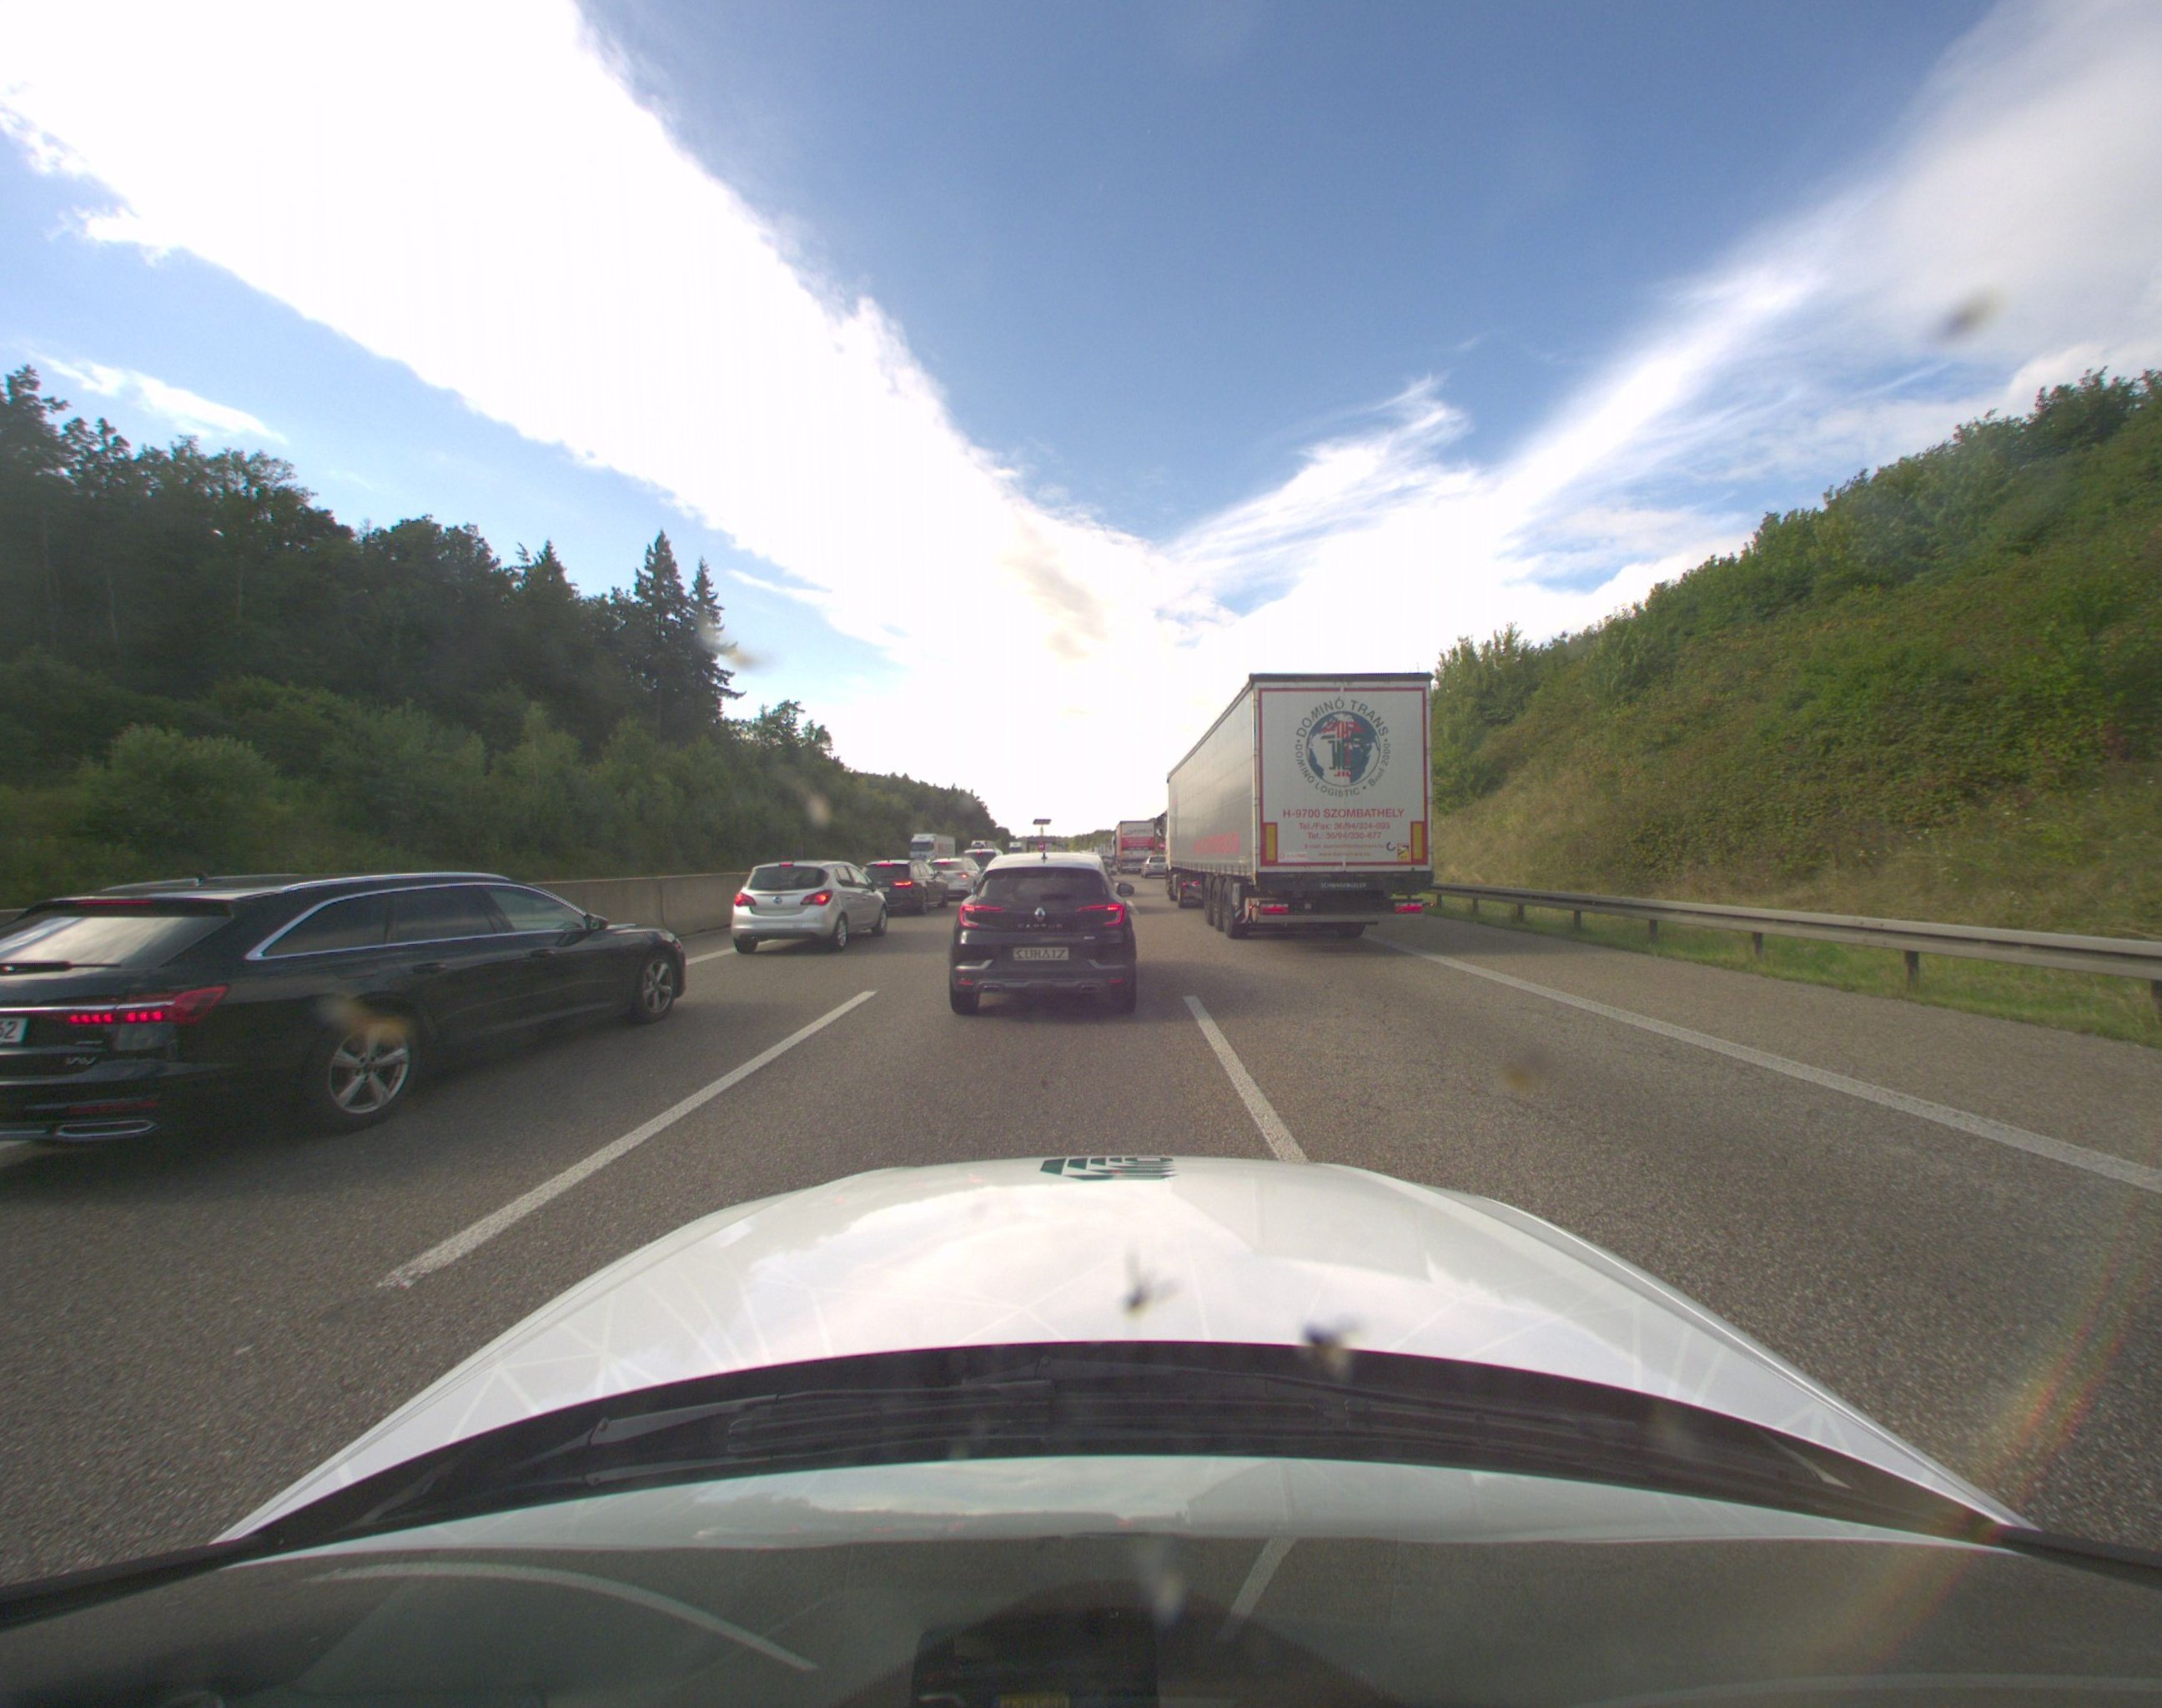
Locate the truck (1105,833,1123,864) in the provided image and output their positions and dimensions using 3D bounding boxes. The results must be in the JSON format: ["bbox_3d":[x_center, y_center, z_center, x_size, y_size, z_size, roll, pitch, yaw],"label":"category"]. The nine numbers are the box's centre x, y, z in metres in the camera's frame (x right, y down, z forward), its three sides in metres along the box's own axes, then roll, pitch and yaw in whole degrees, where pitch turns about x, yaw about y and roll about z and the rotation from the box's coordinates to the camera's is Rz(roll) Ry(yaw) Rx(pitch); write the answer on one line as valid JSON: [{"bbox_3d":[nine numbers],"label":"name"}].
[{"bbox_3d":[6.210,-0.915,152.329,3.153,5.505,12.748,0,-1,3],"label":"truck"}]

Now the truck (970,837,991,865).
[{"bbox_3d":[-17.427,-0.475,141.827,2.921,4.859,4.766,0,-1,1],"label":"truck"}]

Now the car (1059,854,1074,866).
[{"bbox_3d":[-2.121,0.868,118.531,1.986,1.613,4.002,-1,0,2],"label":"car"}]

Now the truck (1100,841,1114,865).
[{"bbox_3d":[5.948,-0.172,186.510,3.154,5.159,12.742,0,-1,2],"label":"truck"}]

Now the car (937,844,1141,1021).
[{"bbox_3d":[-0.249,0.710,9.232,1.797,1.552,4.004,-1,0,3],"label":"car"}]

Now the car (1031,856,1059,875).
[{"bbox_3d":[-3.012,0.953,68.813,1.986,1.613,4.001,0,-1,2],"label":"car"}]

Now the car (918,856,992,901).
[{"bbox_3d":[-4.411,0.822,29.167,1.797,1.461,4.311,-1,-1,2],"label":"car"}]

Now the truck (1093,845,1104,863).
[{"bbox_3d":[5.532,-0.029,256.154,3.154,5.505,12.742,0,-1,2],"label":"truck"}]

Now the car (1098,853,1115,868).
[{"bbox_3d":[2.982,0.743,94.767,1.986,1.613,4.002,-1,0,2],"label":"car"}]

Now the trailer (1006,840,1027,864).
[{"bbox_3d":[-13.830,-0.398,175.745,3.077,5.074,13.834,0,-1,1],"label":"trailer"}]

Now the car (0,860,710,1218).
[{"bbox_3d":[-4.826,0.807,5.897,1.875,1.471,4.854,0,0,2],"label":"car"}]

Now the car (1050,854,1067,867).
[{"bbox_3d":[-2.859,0.761,103.885,1.986,1.613,4.002,-1,0,2],"label":"car"}]

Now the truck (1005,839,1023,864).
[{"bbox_3d":[-13.917,-0.457,168.964,3.077,5.101,7.142,0,-1,1],"label":"truck"}]

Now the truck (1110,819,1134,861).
[{"bbox_3d":[5.674,-1.820,114.356,3.154,5.505,12.742,0,-1,2],"label":"truck"}]

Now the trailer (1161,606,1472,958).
[{"bbox_3d":[3.785,-0.966,17.472,2.991,4.661,13.291,0,0,1],"label":"trailer"}]

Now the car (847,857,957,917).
[{"bbox_3d":[-4.778,0.824,22.417,1.836,1.456,4.749,0,0,2],"label":"car"}]

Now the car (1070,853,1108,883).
[{"bbox_3d":[0.478,0.754,44.688,1.986,1.514,4.001,0,-1,2],"label":"car"}]

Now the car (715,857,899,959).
[{"bbox_3d":[-4.543,0.815,14.186,1.740,1.465,4.042,-1,0,1],"label":"car"}]

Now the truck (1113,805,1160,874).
[{"bbox_3d":[4.334,-1.018,65.837,3.352,5.044,12.742,0,-1,2],"label":"truck"}]

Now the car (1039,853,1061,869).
[{"bbox_3d":[-3.149,0.668,82.947,1.986,1.613,4.002,-1,0,2],"label":"car"}]

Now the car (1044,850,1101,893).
[{"bbox_3d":[-0.253,0.628,30.543,1.986,1.514,4.001,0,-1,2],"label":"car"}]

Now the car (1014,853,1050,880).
[{"bbox_3d":[-3.205,0.817,53.760,1.986,1.722,4.001,0,-1,2],"label":"car"}]

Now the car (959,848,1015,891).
[{"bbox_3d":[-4.091,0.663,36.137,1.905,1.789,4.417,0,-1,0],"label":"car"}]

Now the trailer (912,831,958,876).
[{"bbox_3d":[-18.273,-0.034,103.065,3.031,5.281,13.836,0,-1,1],"label":"trailer"}]

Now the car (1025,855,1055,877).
[{"bbox_3d":[-3.106,0.897,62.608,1.986,1.613,4.001,0,-1,2],"label":"car"}]

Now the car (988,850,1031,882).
[{"bbox_3d":[-3.848,0.638,44.312,1.848,1.641,3.927,0,-1,2],"label":"car"}]

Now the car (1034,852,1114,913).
[{"bbox_3d":[-0.103,0.730,22.220,1.986,1.514,4.001,0,-1,2],"label":"car"}]

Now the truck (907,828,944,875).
[{"bbox_3d":[-18.369,-0.256,96.552,3.029,5.253,6.884,0,-1,1],"label":"truck"}]

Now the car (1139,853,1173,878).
[{"bbox_3d":[4.637,0.701,51.071,1.799,1.533,3.925,0,-1,0],"label":"car"}]

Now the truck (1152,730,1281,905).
[{"bbox_3d":[3.891,-0.974,24.773,2.987,4.667,5.940,-1,0,1],"label":"truck"}]
